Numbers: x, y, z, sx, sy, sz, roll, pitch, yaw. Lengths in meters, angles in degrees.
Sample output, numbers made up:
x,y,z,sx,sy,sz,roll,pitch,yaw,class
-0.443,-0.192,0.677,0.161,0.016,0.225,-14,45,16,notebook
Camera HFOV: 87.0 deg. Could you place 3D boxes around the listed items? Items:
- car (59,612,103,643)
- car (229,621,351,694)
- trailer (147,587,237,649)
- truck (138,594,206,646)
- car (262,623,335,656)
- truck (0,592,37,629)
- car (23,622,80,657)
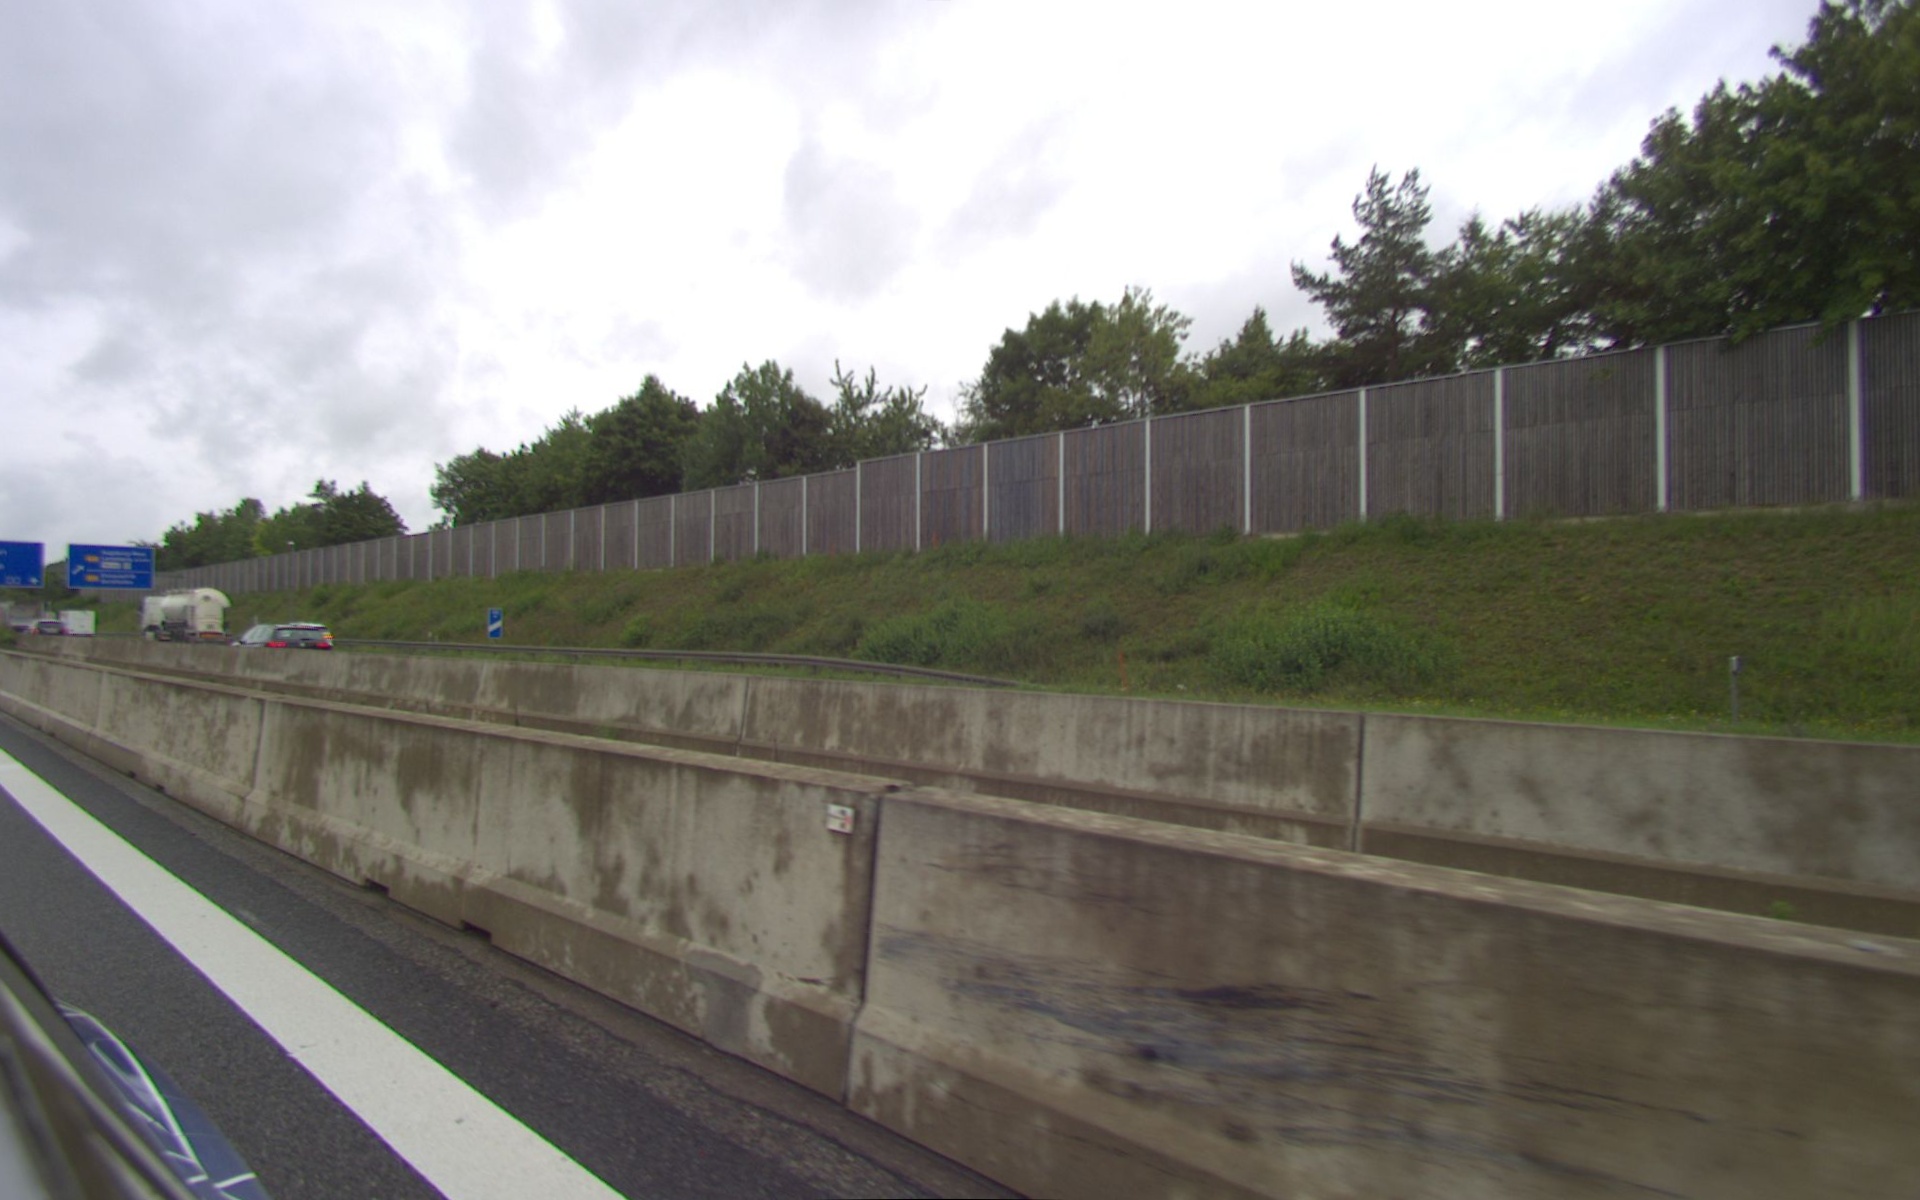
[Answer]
x,y,z,sx,sy,sz,roll,pitch,yaw,class
-87.419,2.708,100.612,6.685,2.992,2.339,-1,-1,41,car
-20.576,1.681,31.001,4.767,2.029,1.972,-1,-1,42,car
-52.666,1.234,69.268,10.640,3.953,2.683,-1,-4,41,trailer
-56.792,1.458,72.882,5.855,3.585,2.672,-1,-4,41,truck
-34.920,2.029,53.373,4.958,1.656,1.973,-1,-1,41,car
-118.458,1.385,126.495,11.138,4.273,3.284,-2,0,41,truck
-54.776,2.324,60.993,4.766,2.029,1.973,-1,-1,41,car
